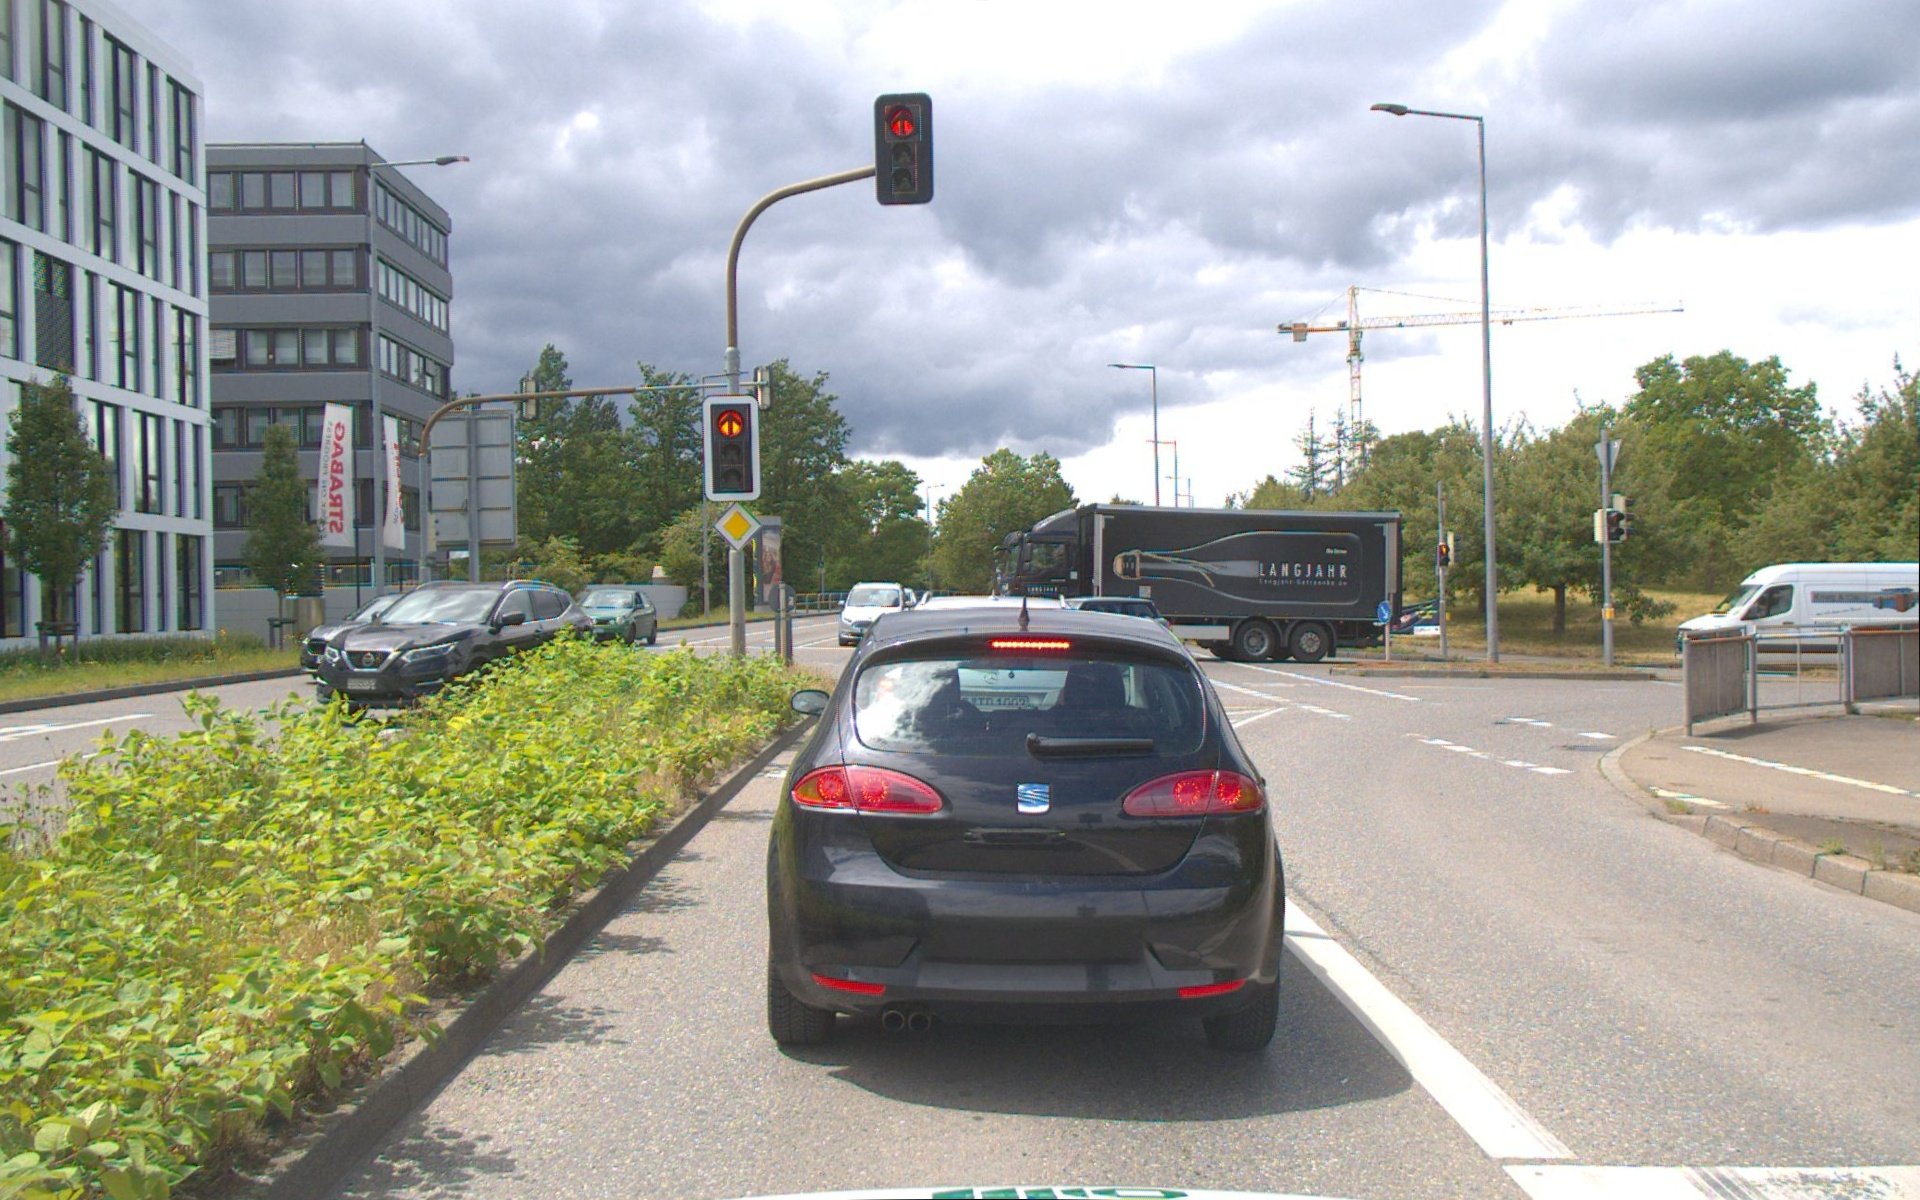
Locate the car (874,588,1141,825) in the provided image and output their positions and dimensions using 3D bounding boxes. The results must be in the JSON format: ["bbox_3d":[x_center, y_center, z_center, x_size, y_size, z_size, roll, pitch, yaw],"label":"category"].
[{"bbox_3d":[0.226,0.689,12.734,1.738,1.517,3.580,-1,0,-3],"label":"car"}]

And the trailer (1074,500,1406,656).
[{"bbox_3d":[6.511,-0.499,38.779,7.441,3.519,1.997,0,0,-8],"label":"trailer"}]

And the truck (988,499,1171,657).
[{"bbox_3d":[2.728,-0.492,38.207,3.912,3.530,1.997,0,0,-8],"label":"truck"}]

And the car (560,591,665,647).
[{"bbox_3d":[-9.015,0.457,43.199,1.953,1.375,3.999,0,0,-1],"label":"car"}]

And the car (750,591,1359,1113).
[{"bbox_3d":[0.246,0.715,6.524,1.737,1.477,3.581,0,0,-1],"label":"car"}]

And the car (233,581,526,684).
[{"bbox_3d":[-9.450,0.485,27.264,1.957,1.552,4.309,-1,0,30],"label":"car"}]

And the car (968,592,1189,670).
[{"bbox_3d":[2.339,0.563,32.605,3.939,1.445,1.983,0,0,-27],"label":"car"}]

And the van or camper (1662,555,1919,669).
[{"bbox_3d":[19.827,0.269,38.792,5.790,2.577,2.251,0,0,8],"label":"van or camper"}]

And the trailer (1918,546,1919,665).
[{"bbox_3d":[25.533,0.094,37.995,5.644,2.855,2.249,-1,0,8],"label":"trailer"}]

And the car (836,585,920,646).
[{"bbox_3d":[-2.233,0.389,45.985,1.952,1.624,4.001,0,0,2],"label":"car"}]

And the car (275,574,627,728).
[{"bbox_3d":[-5.944,0.540,19.920,1.951,1.644,4.321,-1,0,17],"label":"car"}]
